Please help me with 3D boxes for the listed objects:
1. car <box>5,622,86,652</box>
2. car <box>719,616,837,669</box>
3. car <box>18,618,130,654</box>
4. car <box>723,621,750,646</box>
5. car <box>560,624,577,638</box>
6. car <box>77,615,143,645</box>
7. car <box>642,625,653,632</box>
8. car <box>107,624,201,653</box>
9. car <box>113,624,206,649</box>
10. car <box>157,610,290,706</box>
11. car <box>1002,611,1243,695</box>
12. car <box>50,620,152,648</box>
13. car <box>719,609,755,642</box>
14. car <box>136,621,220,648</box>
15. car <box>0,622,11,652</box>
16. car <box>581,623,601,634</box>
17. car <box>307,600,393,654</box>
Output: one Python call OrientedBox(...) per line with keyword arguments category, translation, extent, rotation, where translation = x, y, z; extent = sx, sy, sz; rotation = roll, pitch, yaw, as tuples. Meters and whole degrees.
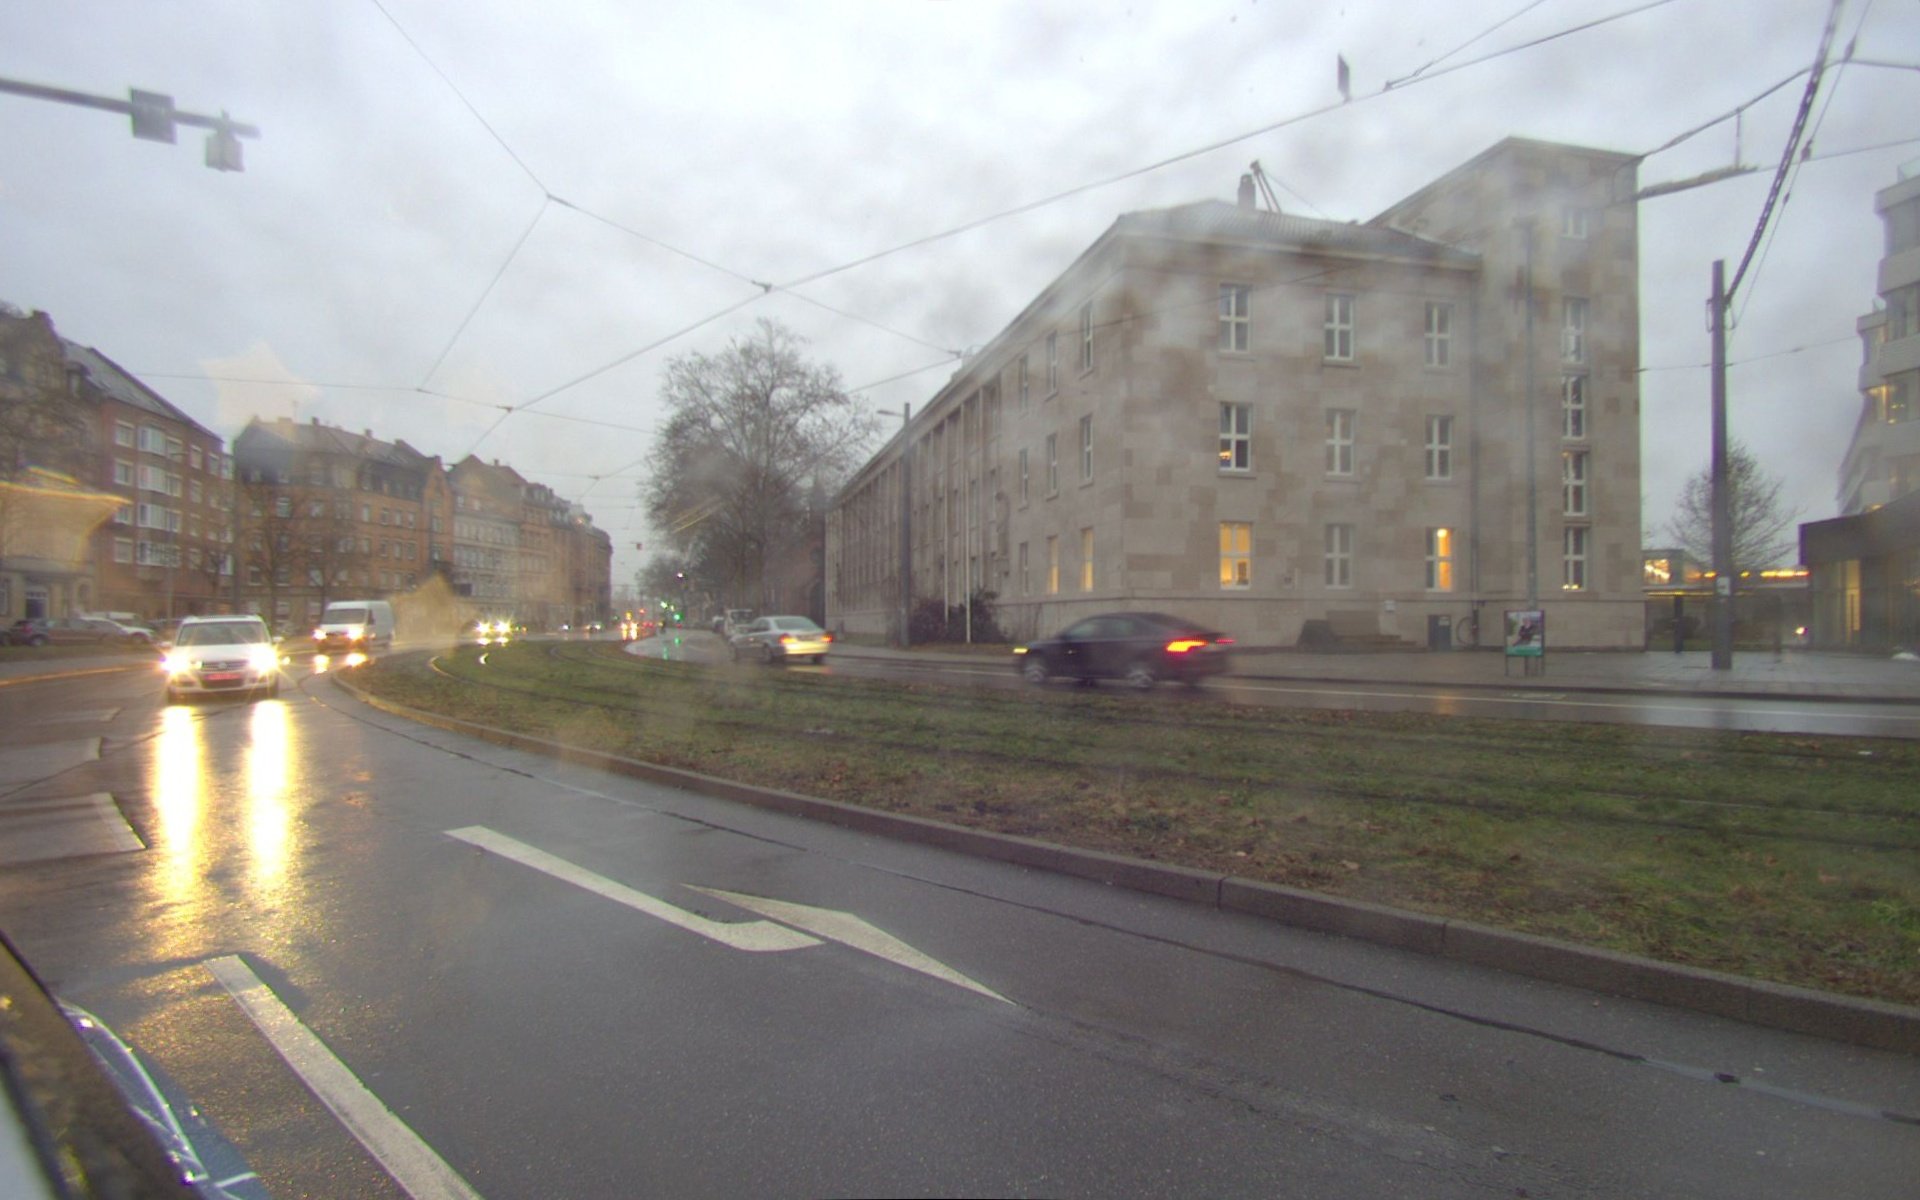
OrientedBox(category="car", translation=(-52.307, 2.094, 57.967), extent=(1.666, 1.554, 4.010), rotation=(-2, 0, -12))
OrientedBox(category="car", translation=(-5.735, 1.269, 31.409), extent=(1.796, 1.446, 4.667), rotation=(-2, 0, -34))
OrientedBox(category="car", translation=(-40.877, 1.636, 46.729), extent=(3.816, 1.416, 1.696), rotation=(-2, 0, -43))
OrientedBox(category="car", translation=(-13.620, 2.044, 61.664), extent=(1.535, 1.439, 2.963), rotation=(0, 0, -14))
OrientedBox(category="car", translation=(-48.014, 3.827, 124.206), extent=(1.694, 1.630, 3.950), rotation=(0, -2, -17))
OrientedBox(category="car", translation=(-53.427, 1.852, 63.711), extent=(1.648, 1.716, 3.473), rotation=(-2, 0, -10))
OrientedBox(category="car", translation=(-76.404, 6.980, 247.738), extent=(1.923, 1.829, 4.006), rotation=(0, -1, -7))
OrientedBox(category="car", translation=(-41.659, 1.972, 52.377), extent=(3.706, 1.341, 1.605), rotation=(-2, 0, -39))
OrientedBox(category="car", translation=(-42.687, 1.909, 54.021), extent=(3.711, 1.288, 1.602), rotation=(1, -2, -45))
OrientedBox(category="car", translation=(-14.845, 1.091, 20.597), extent=(1.647, 1.672, 4.161), rotation=(-2, 0, -29))
OrientedBox(category="car", translation=(3.072, 0.985, 19.849), extent=(4.525, 1.411, 1.638), rotation=(-2, 0, 45))
OrientedBox(category="car", translation=(-41.872, 1.650, 49.412), extent=(3.706, 1.342, 1.605), rotation=(1, -1, -39))
OrientedBox(category="car", translation=(-14.640, 1.632, 66.224), extent=(1.966, 2.029, 4.522), rotation=(-2, 0, -15))
OrientedBox(category="car", translation=(-44.364, 1.944, 57.431), extent=(3.706, 1.364, 1.605), rotation=(-2, 0, -39))
OrientedBox(category="car", translation=(-50.753, 1.915, 51.762), extent=(1.449, 1.555, 3.881), rotation=(0, -2, -12))
OrientedBox(category="car", translation=(-46.717, 3.632, 128.175), extent=(1.866, 1.424, 3.957), rotation=(0, -2, -13))
OrientedBox(category="car", translation=(-29.524, 1.274, 49.202), extent=(2.095, 2.398, 5.654), rotation=(-2, 0, -15))
